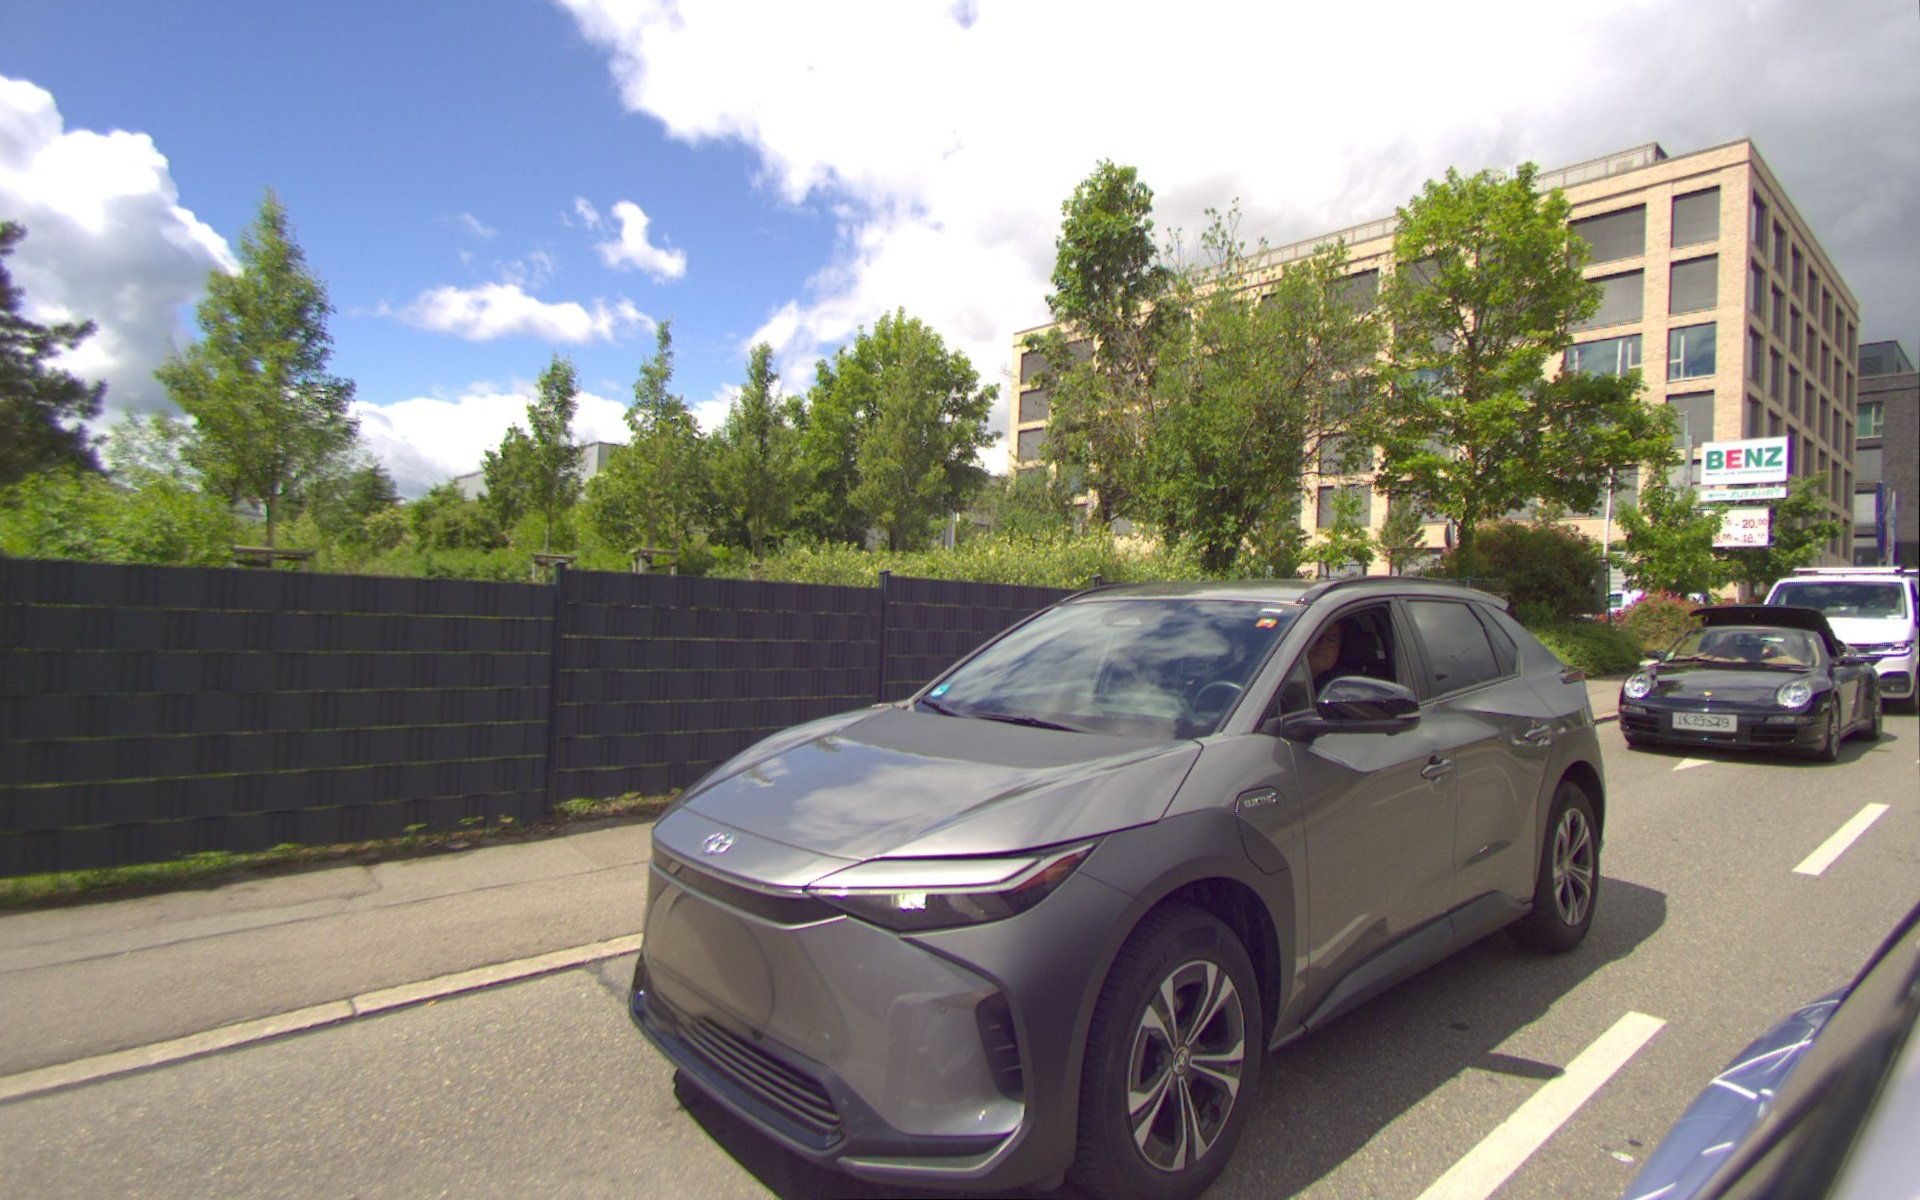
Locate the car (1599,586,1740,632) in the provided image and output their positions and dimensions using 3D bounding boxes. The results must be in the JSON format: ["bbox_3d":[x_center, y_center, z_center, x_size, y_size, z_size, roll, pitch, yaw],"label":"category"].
[{"bbox_3d":[27.423,0.328,39.219,1.707,1.596,4.211,1,1,-44],"label":"car"}]

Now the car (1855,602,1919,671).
[{"bbox_3d":[20.505,0.728,21.237,4.485,1.290,1.778,0,1,-38],"label":"car"}]

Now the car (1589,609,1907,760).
[{"bbox_3d":[8.528,0.746,10.808,4.487,1.290,1.776,0,-1,-40],"label":"car"}]

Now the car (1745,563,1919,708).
[{"bbox_3d":[13.587,0.477,15.211,4.563,1.874,1.962,0,-1,-41],"label":"car"}]

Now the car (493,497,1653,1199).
[{"bbox_3d":[0.887,0.659,3.971,4.601,1.634,1.922,0,-1,-41],"label":"car"}]

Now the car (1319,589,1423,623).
[{"bbox_3d":[19.363,0.247,47.829,1.705,1.436,4.215,1,1,-41],"label":"car"}]
